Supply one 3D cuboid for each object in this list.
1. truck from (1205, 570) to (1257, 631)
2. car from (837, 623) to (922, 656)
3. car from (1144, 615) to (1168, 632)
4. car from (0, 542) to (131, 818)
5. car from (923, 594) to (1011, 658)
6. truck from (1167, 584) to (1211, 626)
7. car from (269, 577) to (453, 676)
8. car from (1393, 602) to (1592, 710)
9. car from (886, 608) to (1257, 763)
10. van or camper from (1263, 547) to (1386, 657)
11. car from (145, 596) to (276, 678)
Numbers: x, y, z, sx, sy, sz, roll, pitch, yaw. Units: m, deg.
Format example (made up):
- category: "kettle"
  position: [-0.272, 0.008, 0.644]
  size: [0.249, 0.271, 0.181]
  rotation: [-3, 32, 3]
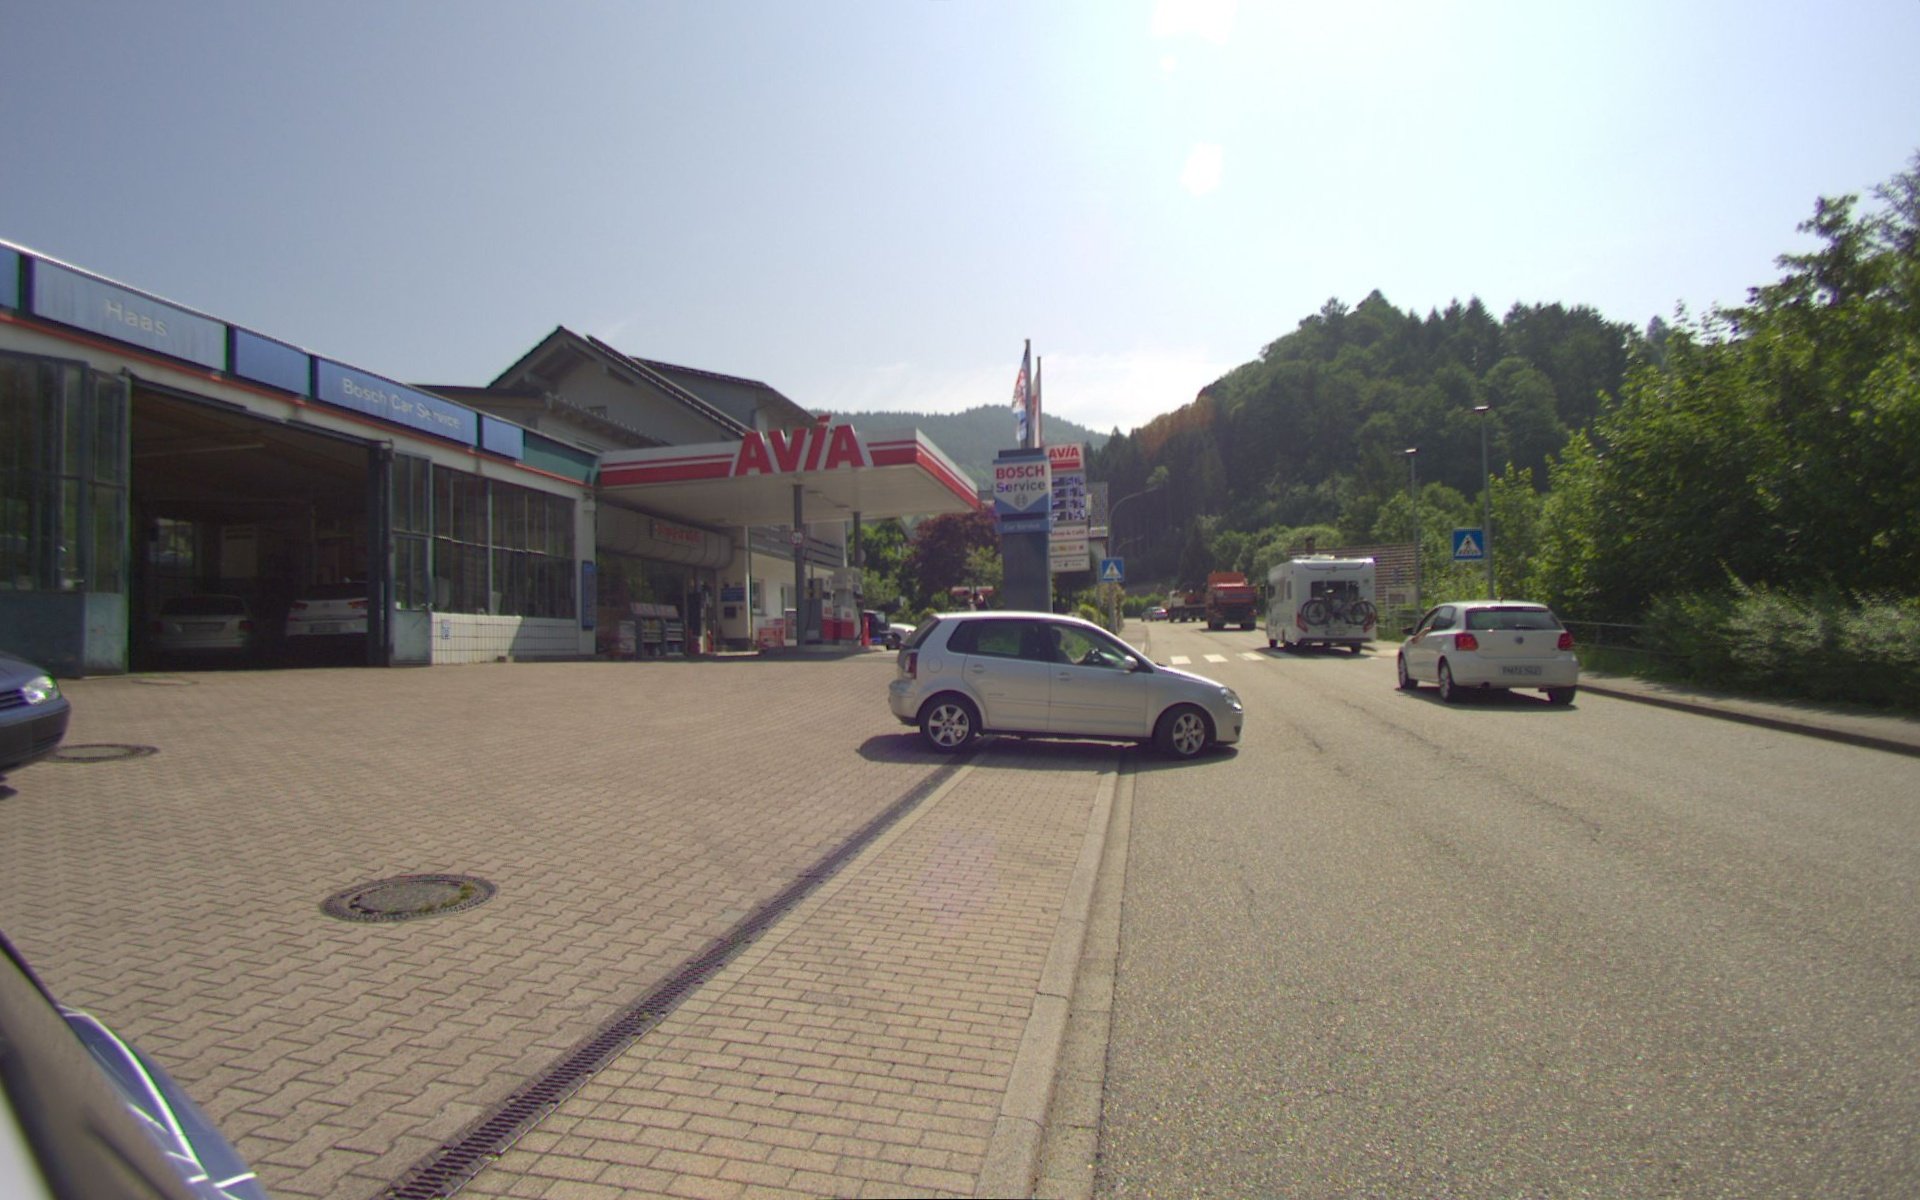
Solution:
- category: "truck"
  position: [16.879, 0.089, 63.432]
  size: [2.625, 3.609, 8.162]
  rotation: [0, -1, 12]
- category: "car"
  position: [-3.096, 1.510, 39.070]
  size: [3.049, 1.153, 1.331]
  rotation: [2, 0, 11]
- category: "car"
  position: [20.002, 2.389, 103.327]
  size: [1.764, 1.586, 3.596]
  rotation: [2, 0, 2]
- category: "car"
  position: [-7.526, 0.386, 5.752]
  size: [4.275, 1.556, 1.798]
  rotation: [2, 0, 4]
- category: "car"
  position: [0.276, 0.691, 28.074]
  size: [1.680, 1.589, 3.896]
  rotation: [1, 0, 12]
- category: "truck"
  position: [20.629, 0.482, 91.387]
  size: [2.618, 3.609, 7.764]
  rotation: [0, -1, 3]
- category: "car"
  position: [-11.512, 0.485, 19.773]
  size: [1.581, 1.701, 3.936]
  rotation: [2, 0, -6]
- category: "car"
  position: [7.904, 0.761, 15.395]
  size: [1.592, 1.416, 3.814]
  rotation: [0, -1, 11]
- category: "car"
  position: [1.086, 0.867, 10.886]
  size: [3.702, 1.493, 1.596]
  rotation: [1, -1, -2]
- category: "van or camper"
  position: [11.189, 0.180, 31.751]
  size: [2.341, 2.975, 8.022]
  rotation: [-1, -2, 11]
- category: "car"
  position: [-14.426, 0.775, 19.652]
  size: [1.522, 1.417, 3.489]
  rotation: [1, -5, -28]
